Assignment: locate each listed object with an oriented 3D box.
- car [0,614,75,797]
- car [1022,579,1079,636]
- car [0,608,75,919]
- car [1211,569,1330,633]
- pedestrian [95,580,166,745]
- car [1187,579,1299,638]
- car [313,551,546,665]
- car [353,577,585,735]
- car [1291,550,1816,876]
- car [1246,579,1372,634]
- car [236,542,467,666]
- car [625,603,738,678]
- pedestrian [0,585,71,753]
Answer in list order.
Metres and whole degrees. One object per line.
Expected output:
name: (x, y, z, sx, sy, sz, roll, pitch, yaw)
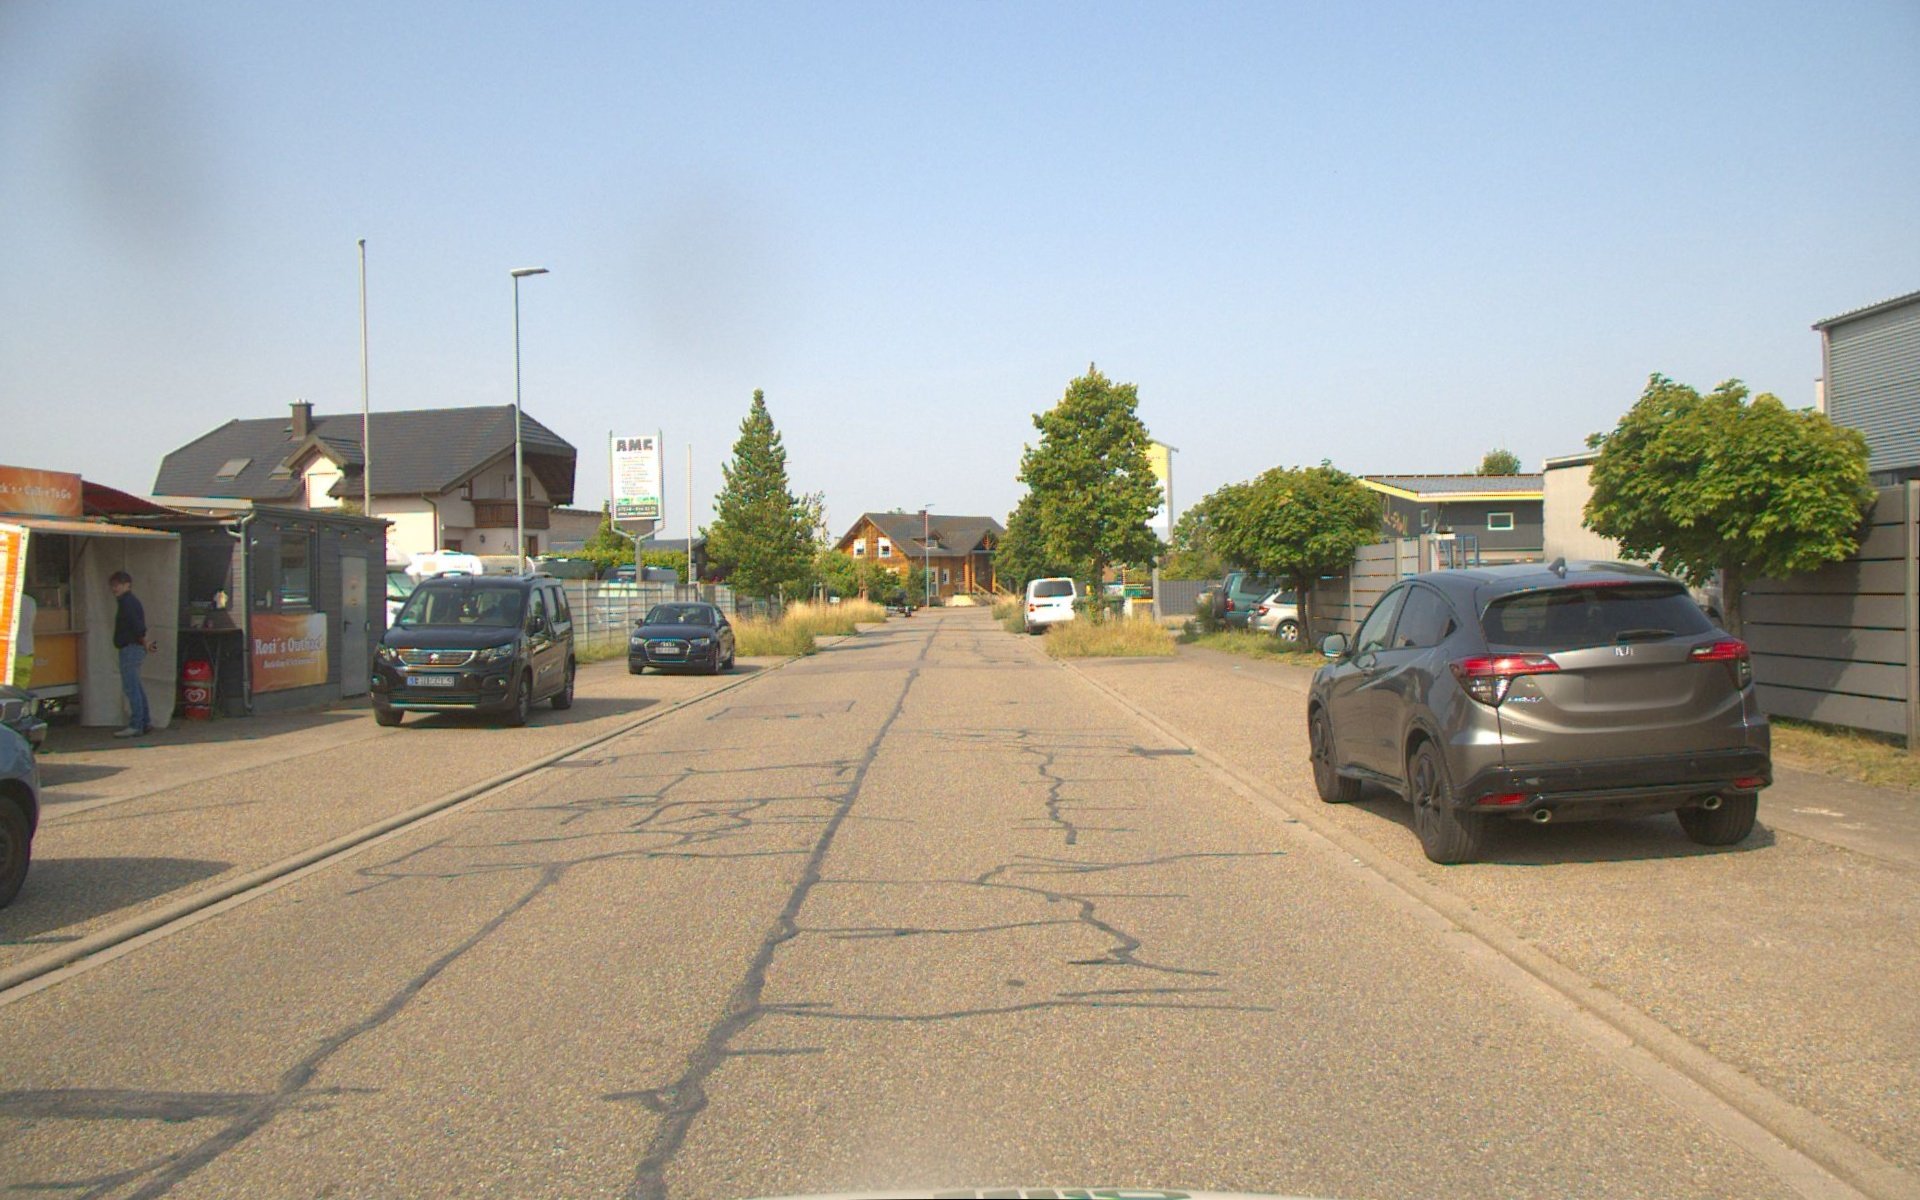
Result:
car: (-9.378, 0.834, 13.332, 3.516, 1.439, 1.760, 0, 0, -4)
car: (3.269, 0.250, 60.254, 1.800, 1.957, 3.756, -2, 0, 0)
car: (-5.624, 0.816, 7.092, 1.599, 1.544, 3.606, 0, 0, 2)
car: (8.478, 0.034, 45.333, 3.076, 1.607, 1.393, -2, 0, 8)
pedestrian: (-9.017, 0.662, 17.986, 0.558, 1.745, 0.527, -2, 0, -38)
car: (8.080, 0.238, 47.381, 3.076, 1.548, 1.393, -2, 0, 8)
car: (-13.458, 0.204, 42.026, 5.050, 2.631, 2.577, -2, 0, 20)
car: (-6.137, 0.635, 21.174, 1.763, 1.805, 4.202, 0, 0, -1)
car: (3.414, 0.560, 10.383, 1.758, 1.588, 3.999, -2, 0, -1)
car: (9.027, 0.173, 42.936, 3.076, 1.288, 1.393, -2, 0, 8)
car: (-14.128, 0.099, 38.434, 4.703, 2.631, 2.146, -2, 0, 20)
car: (-5.656, 0.788, 33.971, 1.763, 1.411, 3.637, 0, 0, -1)
pedestrian: (-9.680, 0.711, 17.290, 0.399, 1.717, 0.540, -2, 0, 3)
